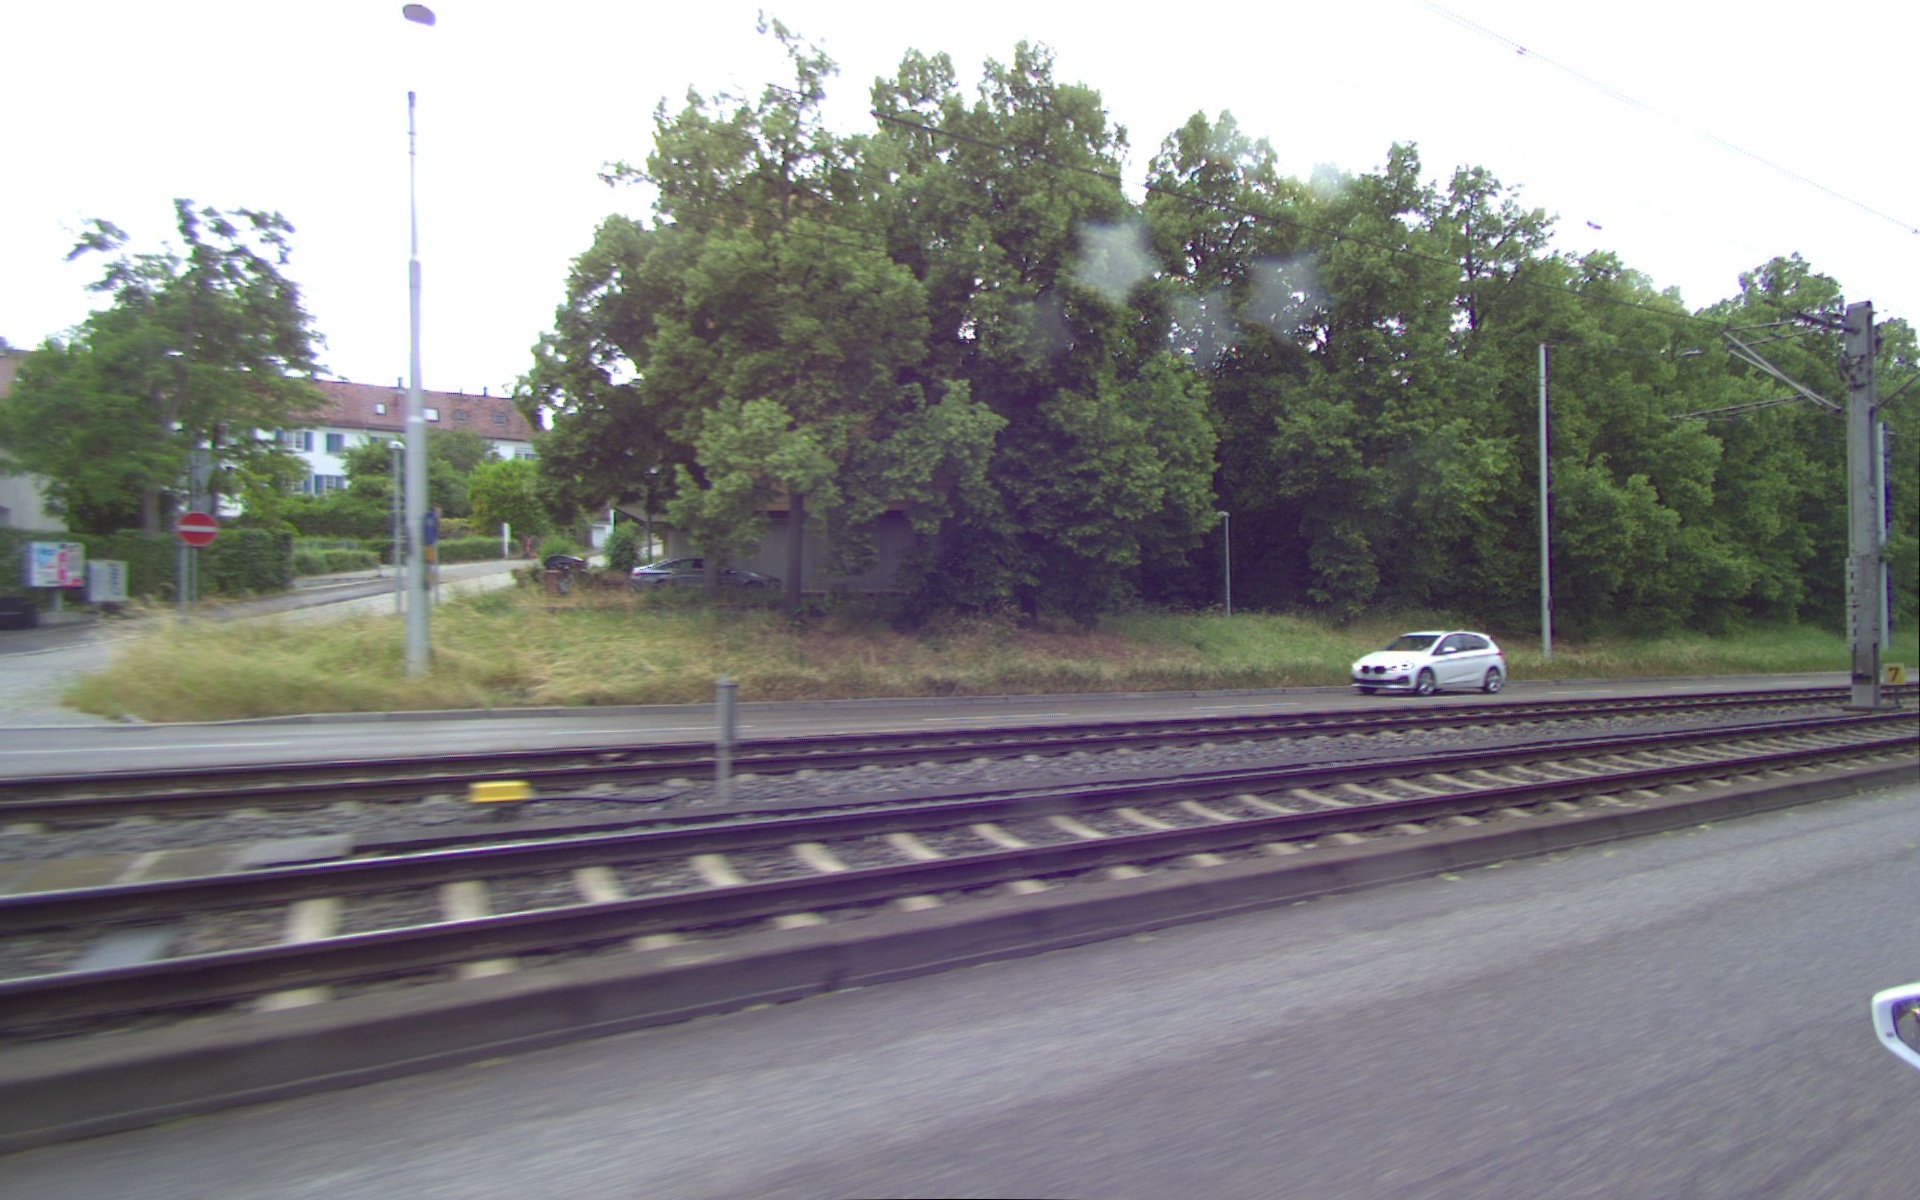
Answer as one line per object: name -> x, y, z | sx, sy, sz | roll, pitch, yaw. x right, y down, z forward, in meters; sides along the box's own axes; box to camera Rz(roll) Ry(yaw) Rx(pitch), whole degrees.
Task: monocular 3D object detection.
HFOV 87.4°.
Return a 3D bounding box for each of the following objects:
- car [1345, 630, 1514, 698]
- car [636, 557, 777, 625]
car -> 11.738, 1.531, 25.051 | 4.328, 1.550, 1.646 | 1, -2, -30
car -> -7.917, -0.234, 31.582 | 4.145, 2.040, 1.962 | 0, -1, -14
